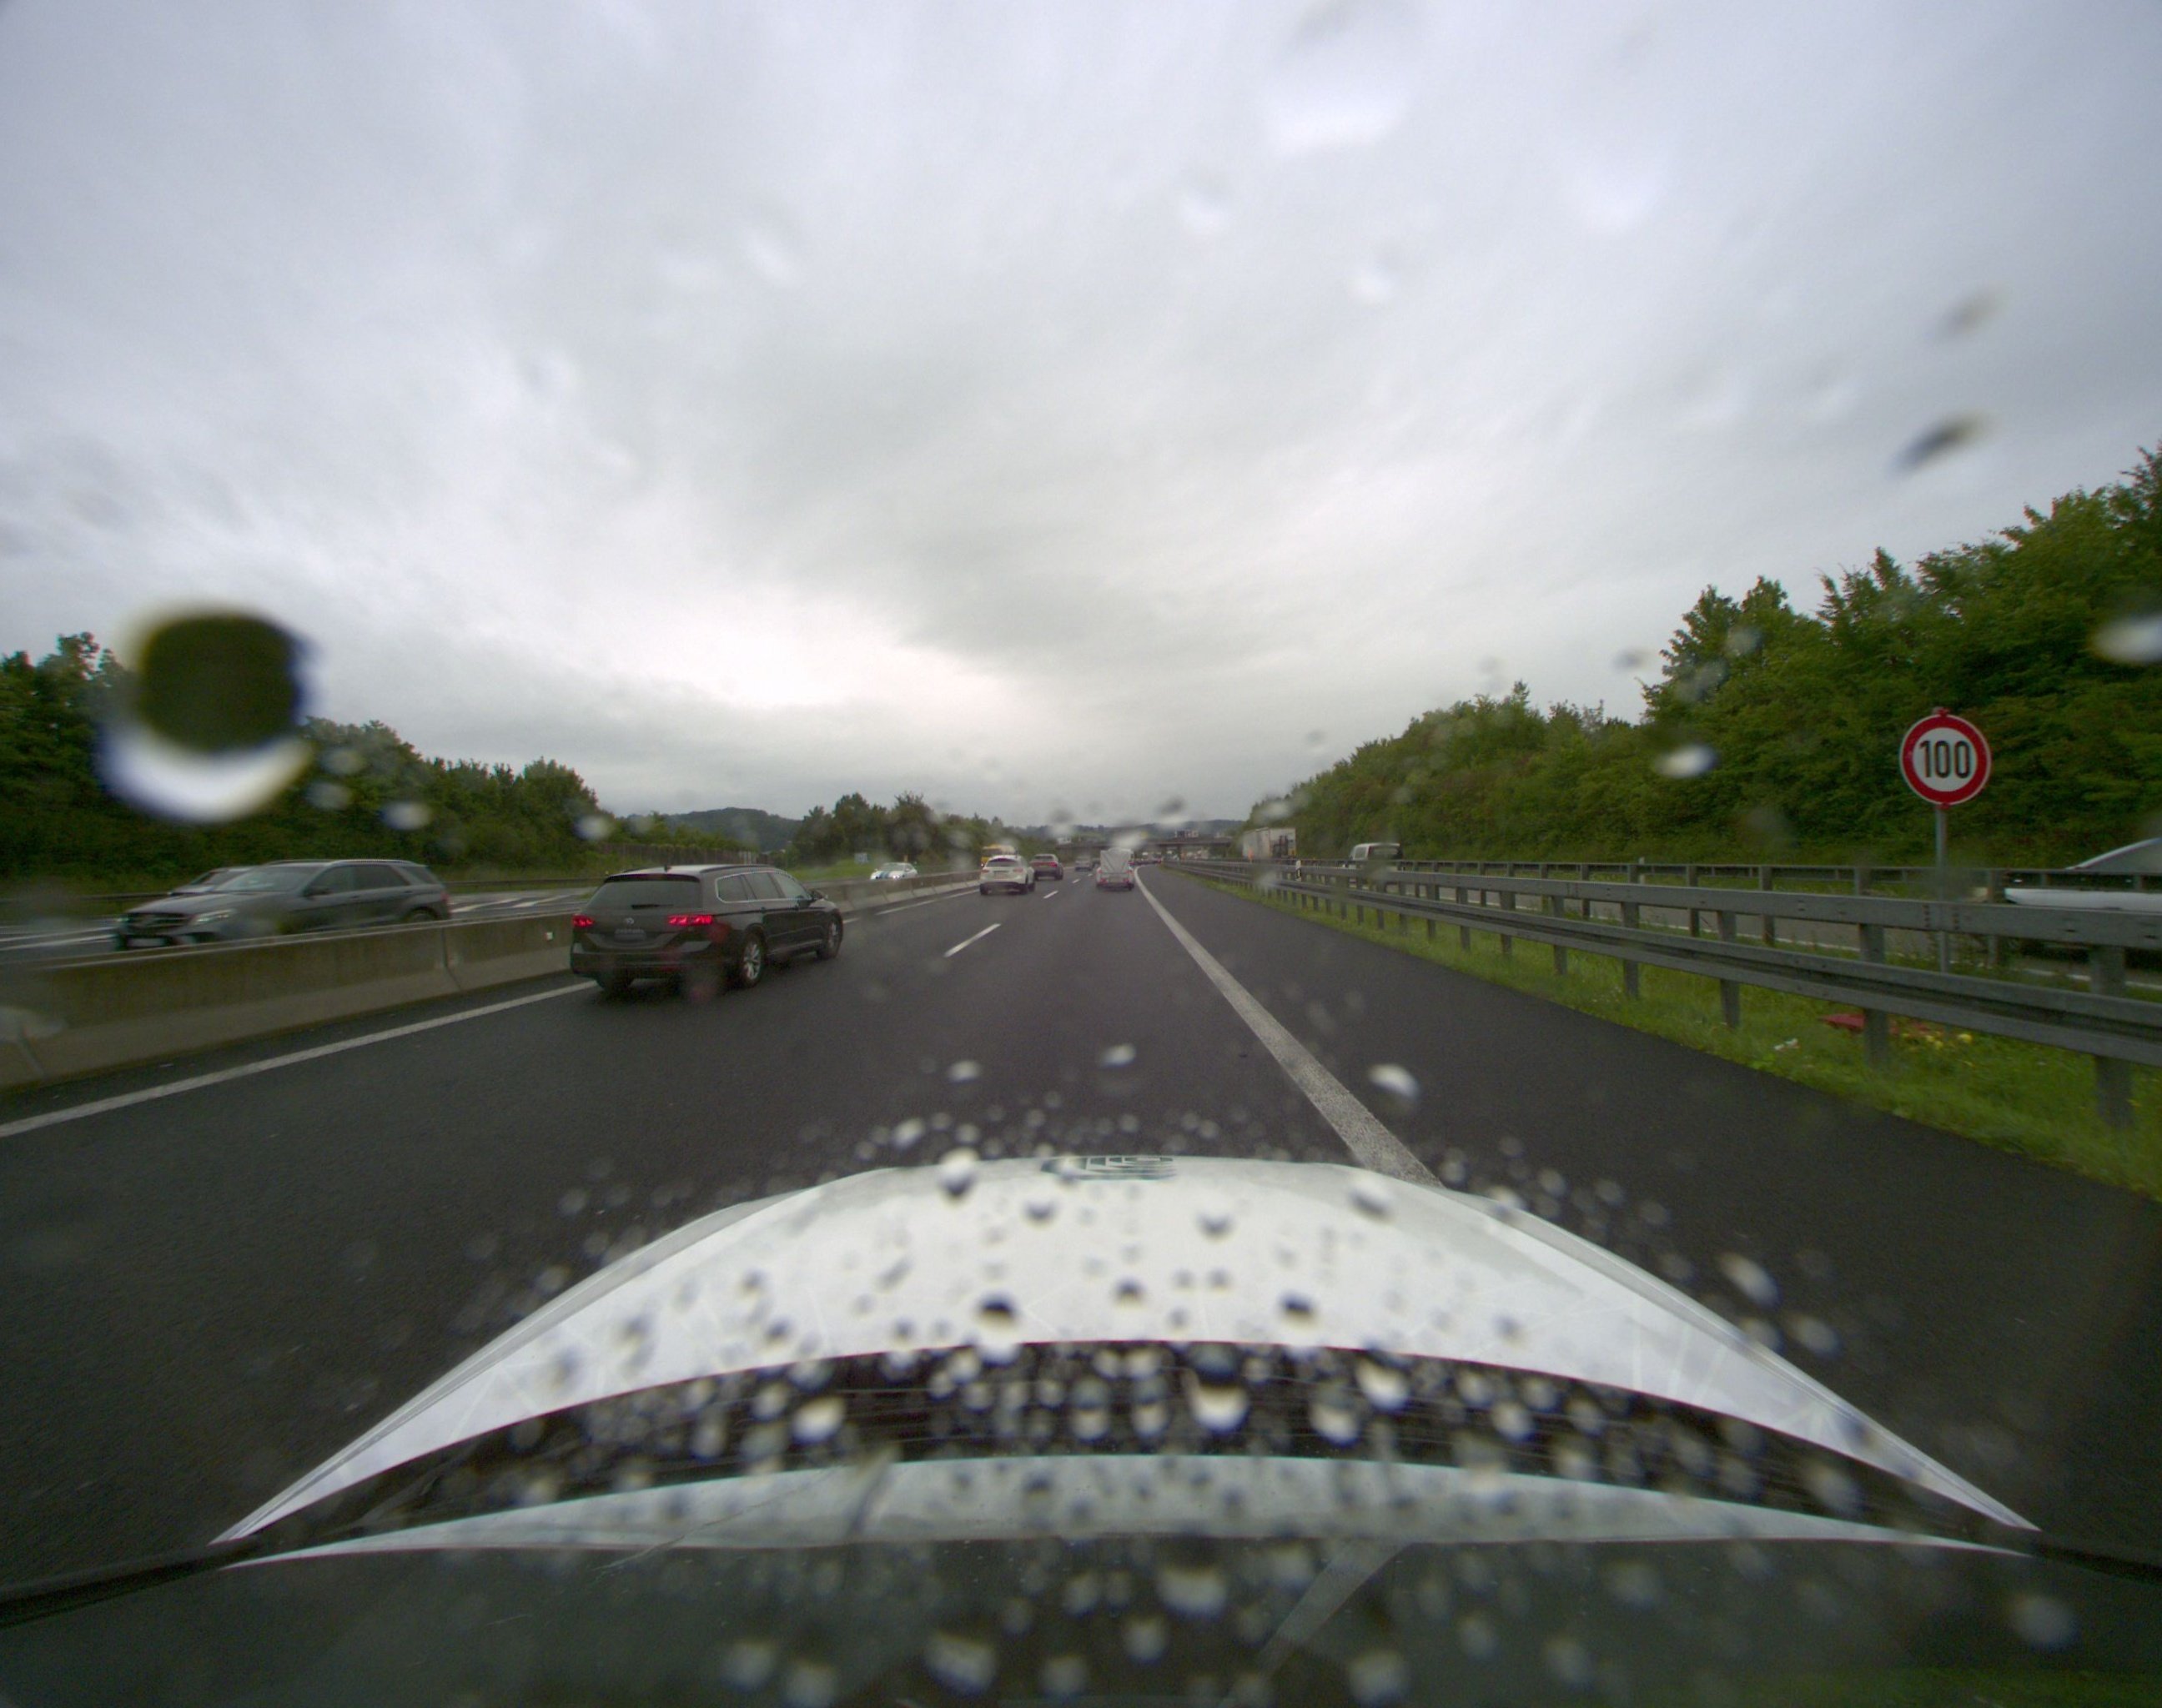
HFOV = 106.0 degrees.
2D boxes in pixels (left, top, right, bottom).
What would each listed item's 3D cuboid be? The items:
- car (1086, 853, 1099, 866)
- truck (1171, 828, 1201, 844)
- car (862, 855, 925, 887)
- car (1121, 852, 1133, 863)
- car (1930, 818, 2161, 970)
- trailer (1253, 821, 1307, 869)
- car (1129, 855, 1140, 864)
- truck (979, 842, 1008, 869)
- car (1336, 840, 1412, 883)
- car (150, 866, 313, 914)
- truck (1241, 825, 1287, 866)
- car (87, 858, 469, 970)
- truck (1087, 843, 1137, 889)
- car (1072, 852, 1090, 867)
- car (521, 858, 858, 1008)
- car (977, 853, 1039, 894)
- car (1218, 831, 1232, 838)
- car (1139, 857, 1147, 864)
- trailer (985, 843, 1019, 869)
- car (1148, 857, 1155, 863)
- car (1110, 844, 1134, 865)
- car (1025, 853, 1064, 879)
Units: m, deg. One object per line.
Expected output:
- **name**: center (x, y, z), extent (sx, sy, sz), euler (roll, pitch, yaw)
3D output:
- **car**: center (1.764, 0.814, 123.622), extent (1.835, 1.819, 4.001), euler (-1, 0, 1)
- **truck**: center (33.927, -5.933, 263.091), extent (3.794, 4.836, 9.936), euler (-1, 0, -35)
- **car**: center (-11.060, 0.968, 48.410), extent (2.169, 1.696, 4.871), euler (-1, 0, 5)
- **car**: center (8.038, 0.622, 142.147), extent (1.987, 2.036, 4.151), euler (0, 0, 0)
- **car**: center (11.993, 0.384, 8.202), extent (2.001, 1.548, 4.695), euler (-1, 0, 0)
- **trailer**: center (19.469, -0.850, 80.518), extent (3.422, 4.289, 10.466), euler (-1, 0, 4)
- **car**: center (10.541, 1.074, 161.074), extent (1.987, 1.750, 3.999), euler (0, 0, 0)
- **truck**: center (-11.362, 0.227, 106.531), extent (2.749, 3.398, 5.853), euler (0, 0, 4)
- **car**: center (13.153, 0.323, 36.857), extent (1.853, 1.805, 4.649), euler (-1, 0, 2)
- **car**: center (-34.864, 1.420, 33.660), extent (2.177, 1.696, 4.558), euler (-1, 0, -6)
- **truck**: center (20.258, -0.906, 90.951), extent (3.422, 4.289, 10.430), euler (-1, 0, 4)
- **car**: center (-14.403, 0.958, 15.152), extent (2.169, 1.696, 4.739), euler (-1, 0, 5)
- **truck**: center (1.603, 0.504, 39.206), extent (2.009, 1.985, 7.222), euler (-1, 0, 5)
- **car**: center (0.062, 0.642, 92.109), extent (1.893, 1.613, 4.018), euler (-1, 0, 1)
- **car**: center (-4.678, 0.822, 10.760), extent (1.893, 1.497, 4.855), euler (-1, 0, 3)
- **car**: center (-3.061, 0.794, 34.995), extent (1.968, 1.639, 4.505), euler (-1, 0, 3)
- **car**: center (43.513, -5.819, 246.197), extent (1.851, 1.915, 3.956), euler (0, -1, -36)
- **car**: center (16.257, 1.599, 212.962), extent (1.985, 1.750, 4.004), euler (0, 0, 4)
- **trailer**: center (-10.847, 0.263, 112.973), extent (2.749, 3.398, 11.461), euler (0, 0, 5)
- **car**: center (20.898, 1.797, 240.427), extent (1.984, 1.750, 4.005), euler (0, 0, 5)
- **car**: center (5.556, 0.033, 109.127), extent (3.003, 2.616, 6.082), euler (-1, 0, 4)
- **car**: center (-2.368, 0.792, 54.325), extent (2.166, 1.631, 4.503), euler (-1, 0, 2)
